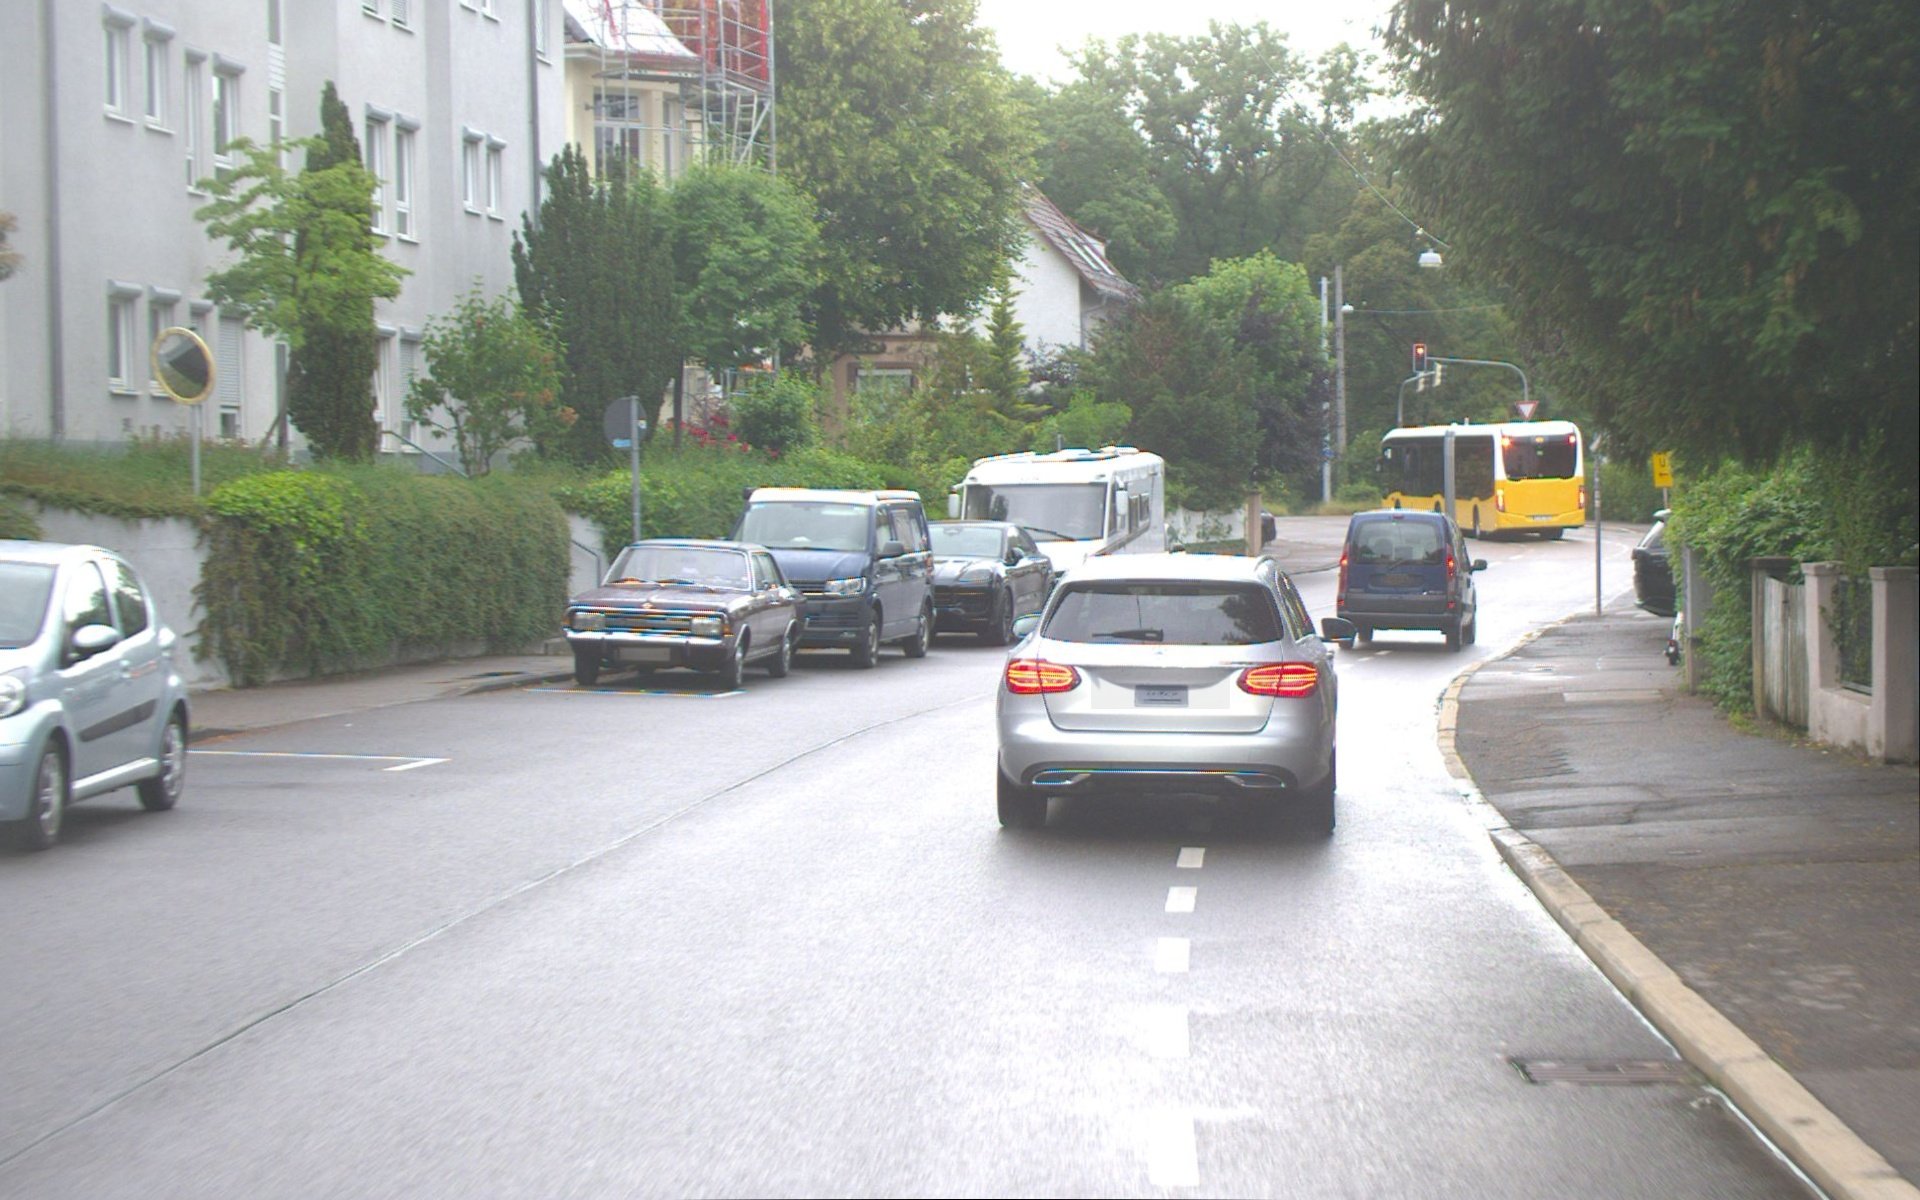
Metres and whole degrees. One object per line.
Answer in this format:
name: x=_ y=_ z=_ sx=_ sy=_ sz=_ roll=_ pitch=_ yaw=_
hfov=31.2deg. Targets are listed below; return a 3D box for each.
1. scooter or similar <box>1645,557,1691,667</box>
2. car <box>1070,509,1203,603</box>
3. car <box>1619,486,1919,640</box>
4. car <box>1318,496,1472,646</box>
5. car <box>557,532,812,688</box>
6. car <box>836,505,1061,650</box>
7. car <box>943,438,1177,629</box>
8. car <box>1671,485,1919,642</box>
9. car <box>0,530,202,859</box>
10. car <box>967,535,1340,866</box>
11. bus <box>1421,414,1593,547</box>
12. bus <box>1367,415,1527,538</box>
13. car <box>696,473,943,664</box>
scooter or similar: x=7.943 y=0.121 z=38.547 sx=0.456 sy=1.196 sz=1.865 roll=1 pitch=1 yaw=12
car: x=3.077 y=-0.789 z=59.408 sx=1.714 sy=1.442 sz=3.253 roll=2 pitch=4 yaw=13
car: x=11.277 y=-0.526 z=46.189 sx=4.664 sy=1.868 sz=1.999 roll=-2 pitch=1 yaw=11
car: x=5.901 y=-0.409 z=46.342 sx=1.843 sy=1.897 sz=3.998 roll=1 pitch=1 yaw=10
car: x=-2.716 y=0.044 z=34.878 sx=1.644 sy=1.412 sz=4.612 roll=1 pitch=2 yaw=7
car: x=-0.089 y=-0.353 z=46.594 sx=1.995 sy=1.682 sz=4.674 roll=2 pitch=4 yaw=13
car: x=1.658 y=-1.139 z=53.834 sx=2.392 sy=2.762 sz=6.529 roll=2 pitch=3 yaw=13
car: x=11.324 y=-0.501 z=42.931 sx=4.664 sy=1.806 sz=1.999 roll=-2 pitch=1 yaw=11
car: x=-5.051 y=0.389 z=17.334 sx=1.605 sy=1.481 sz=3.487 roll=1 pitch=1 yaw=1
car: x=1.162 y=0.456 z=19.030 sx=1.816 sy=1.551 sz=3.999 roll=1 pitch=2 yaw=6
bus: x=16.127 y=-3.660 z=102.217 sx=2.928 sy=3.638 sz=10.171 roll=1 pitch=3 yaw=-3
bus: x=15.598 y=-4.075 z=110.960 sx=2.928 sy=3.638 sz=10.305 roll=1 pitch=3 yaw=-4
car: x=-1.562 y=-0.389 z=40.198 sx=1.830 sy=2.049 sz=5.008 roll=1 pitch=1 yaw=10
